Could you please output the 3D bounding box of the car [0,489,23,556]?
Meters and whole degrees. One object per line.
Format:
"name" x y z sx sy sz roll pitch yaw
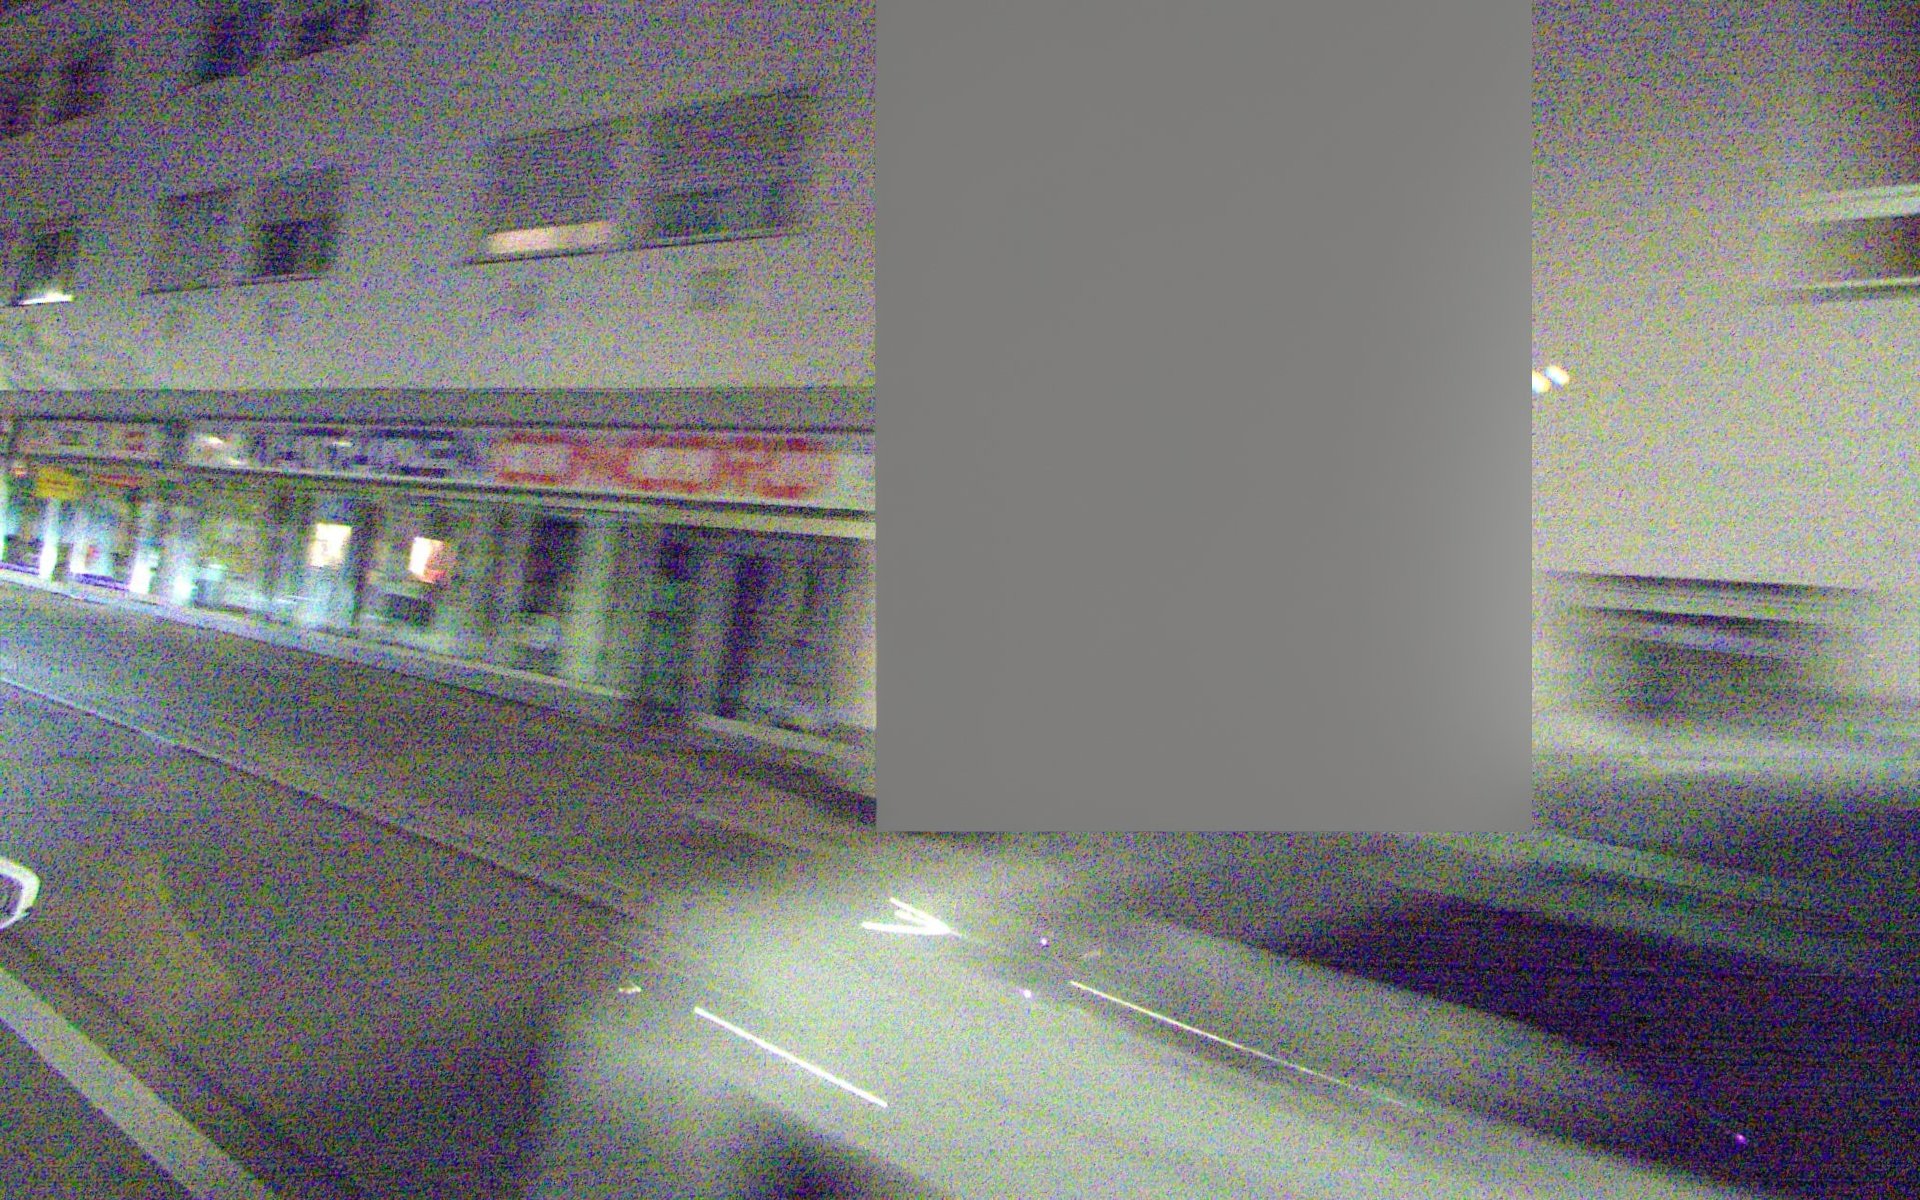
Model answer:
"car" -23.992 -2.007 22.836 1.789 1.544 3.513 7 0 27

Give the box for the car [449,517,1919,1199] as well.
"car" 1.295 0.929 1.674 4.136 1.587 1.747 7 -2 29
